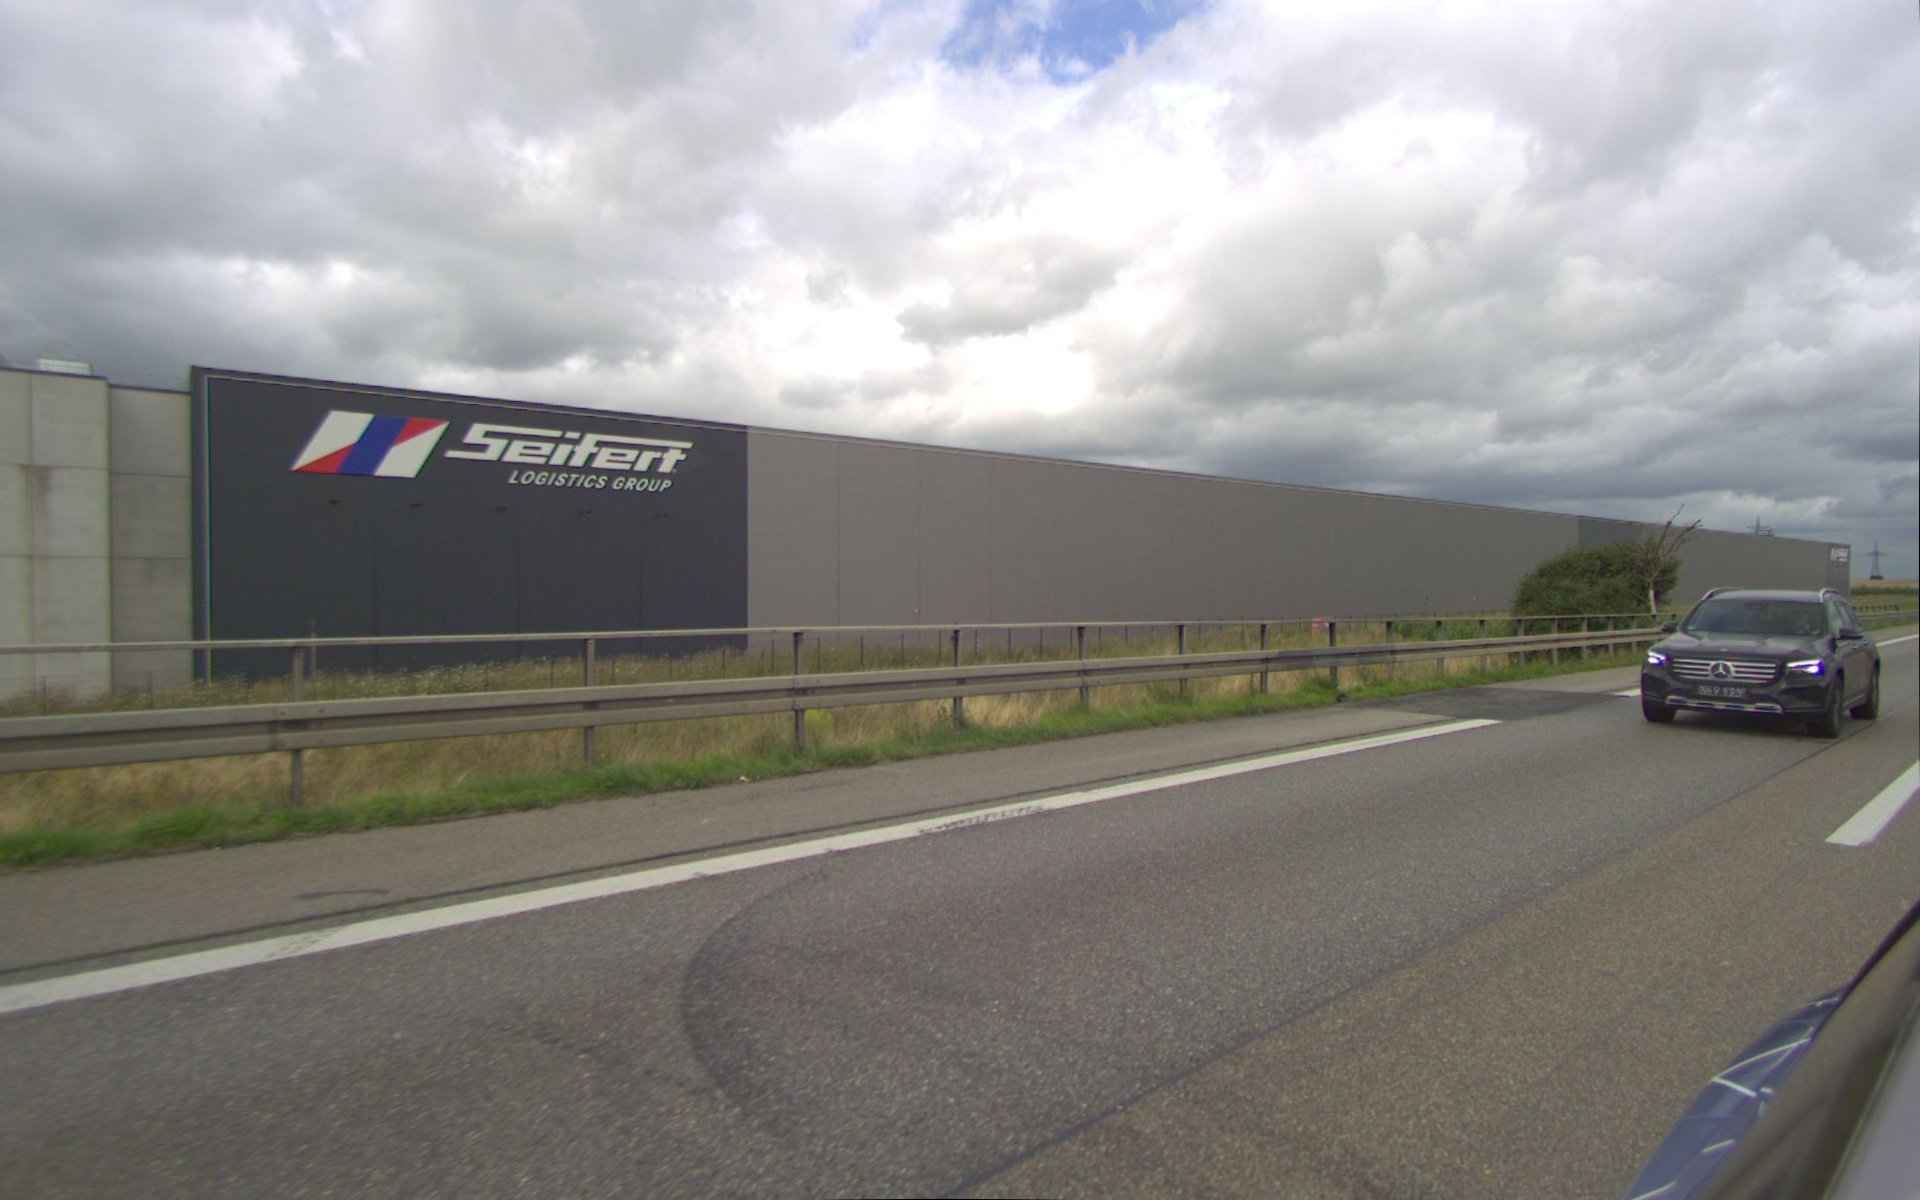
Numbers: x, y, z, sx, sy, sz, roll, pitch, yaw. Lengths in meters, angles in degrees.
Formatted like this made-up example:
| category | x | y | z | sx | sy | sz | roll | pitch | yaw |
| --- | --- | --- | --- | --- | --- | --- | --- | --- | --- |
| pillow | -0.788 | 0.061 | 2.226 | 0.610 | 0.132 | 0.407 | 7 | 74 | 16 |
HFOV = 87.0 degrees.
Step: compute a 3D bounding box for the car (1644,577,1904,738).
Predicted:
| category | x | y | z | sx | sy | sz | roll | pitch | yaw |
| --- | --- | --- | --- | --- | --- | --- | --- | --- | --- |
| car | 10.339 | 0.554 | 12.737 | 4.285 | 1.629 | 1.837 | -1 | 3 | -42 |
